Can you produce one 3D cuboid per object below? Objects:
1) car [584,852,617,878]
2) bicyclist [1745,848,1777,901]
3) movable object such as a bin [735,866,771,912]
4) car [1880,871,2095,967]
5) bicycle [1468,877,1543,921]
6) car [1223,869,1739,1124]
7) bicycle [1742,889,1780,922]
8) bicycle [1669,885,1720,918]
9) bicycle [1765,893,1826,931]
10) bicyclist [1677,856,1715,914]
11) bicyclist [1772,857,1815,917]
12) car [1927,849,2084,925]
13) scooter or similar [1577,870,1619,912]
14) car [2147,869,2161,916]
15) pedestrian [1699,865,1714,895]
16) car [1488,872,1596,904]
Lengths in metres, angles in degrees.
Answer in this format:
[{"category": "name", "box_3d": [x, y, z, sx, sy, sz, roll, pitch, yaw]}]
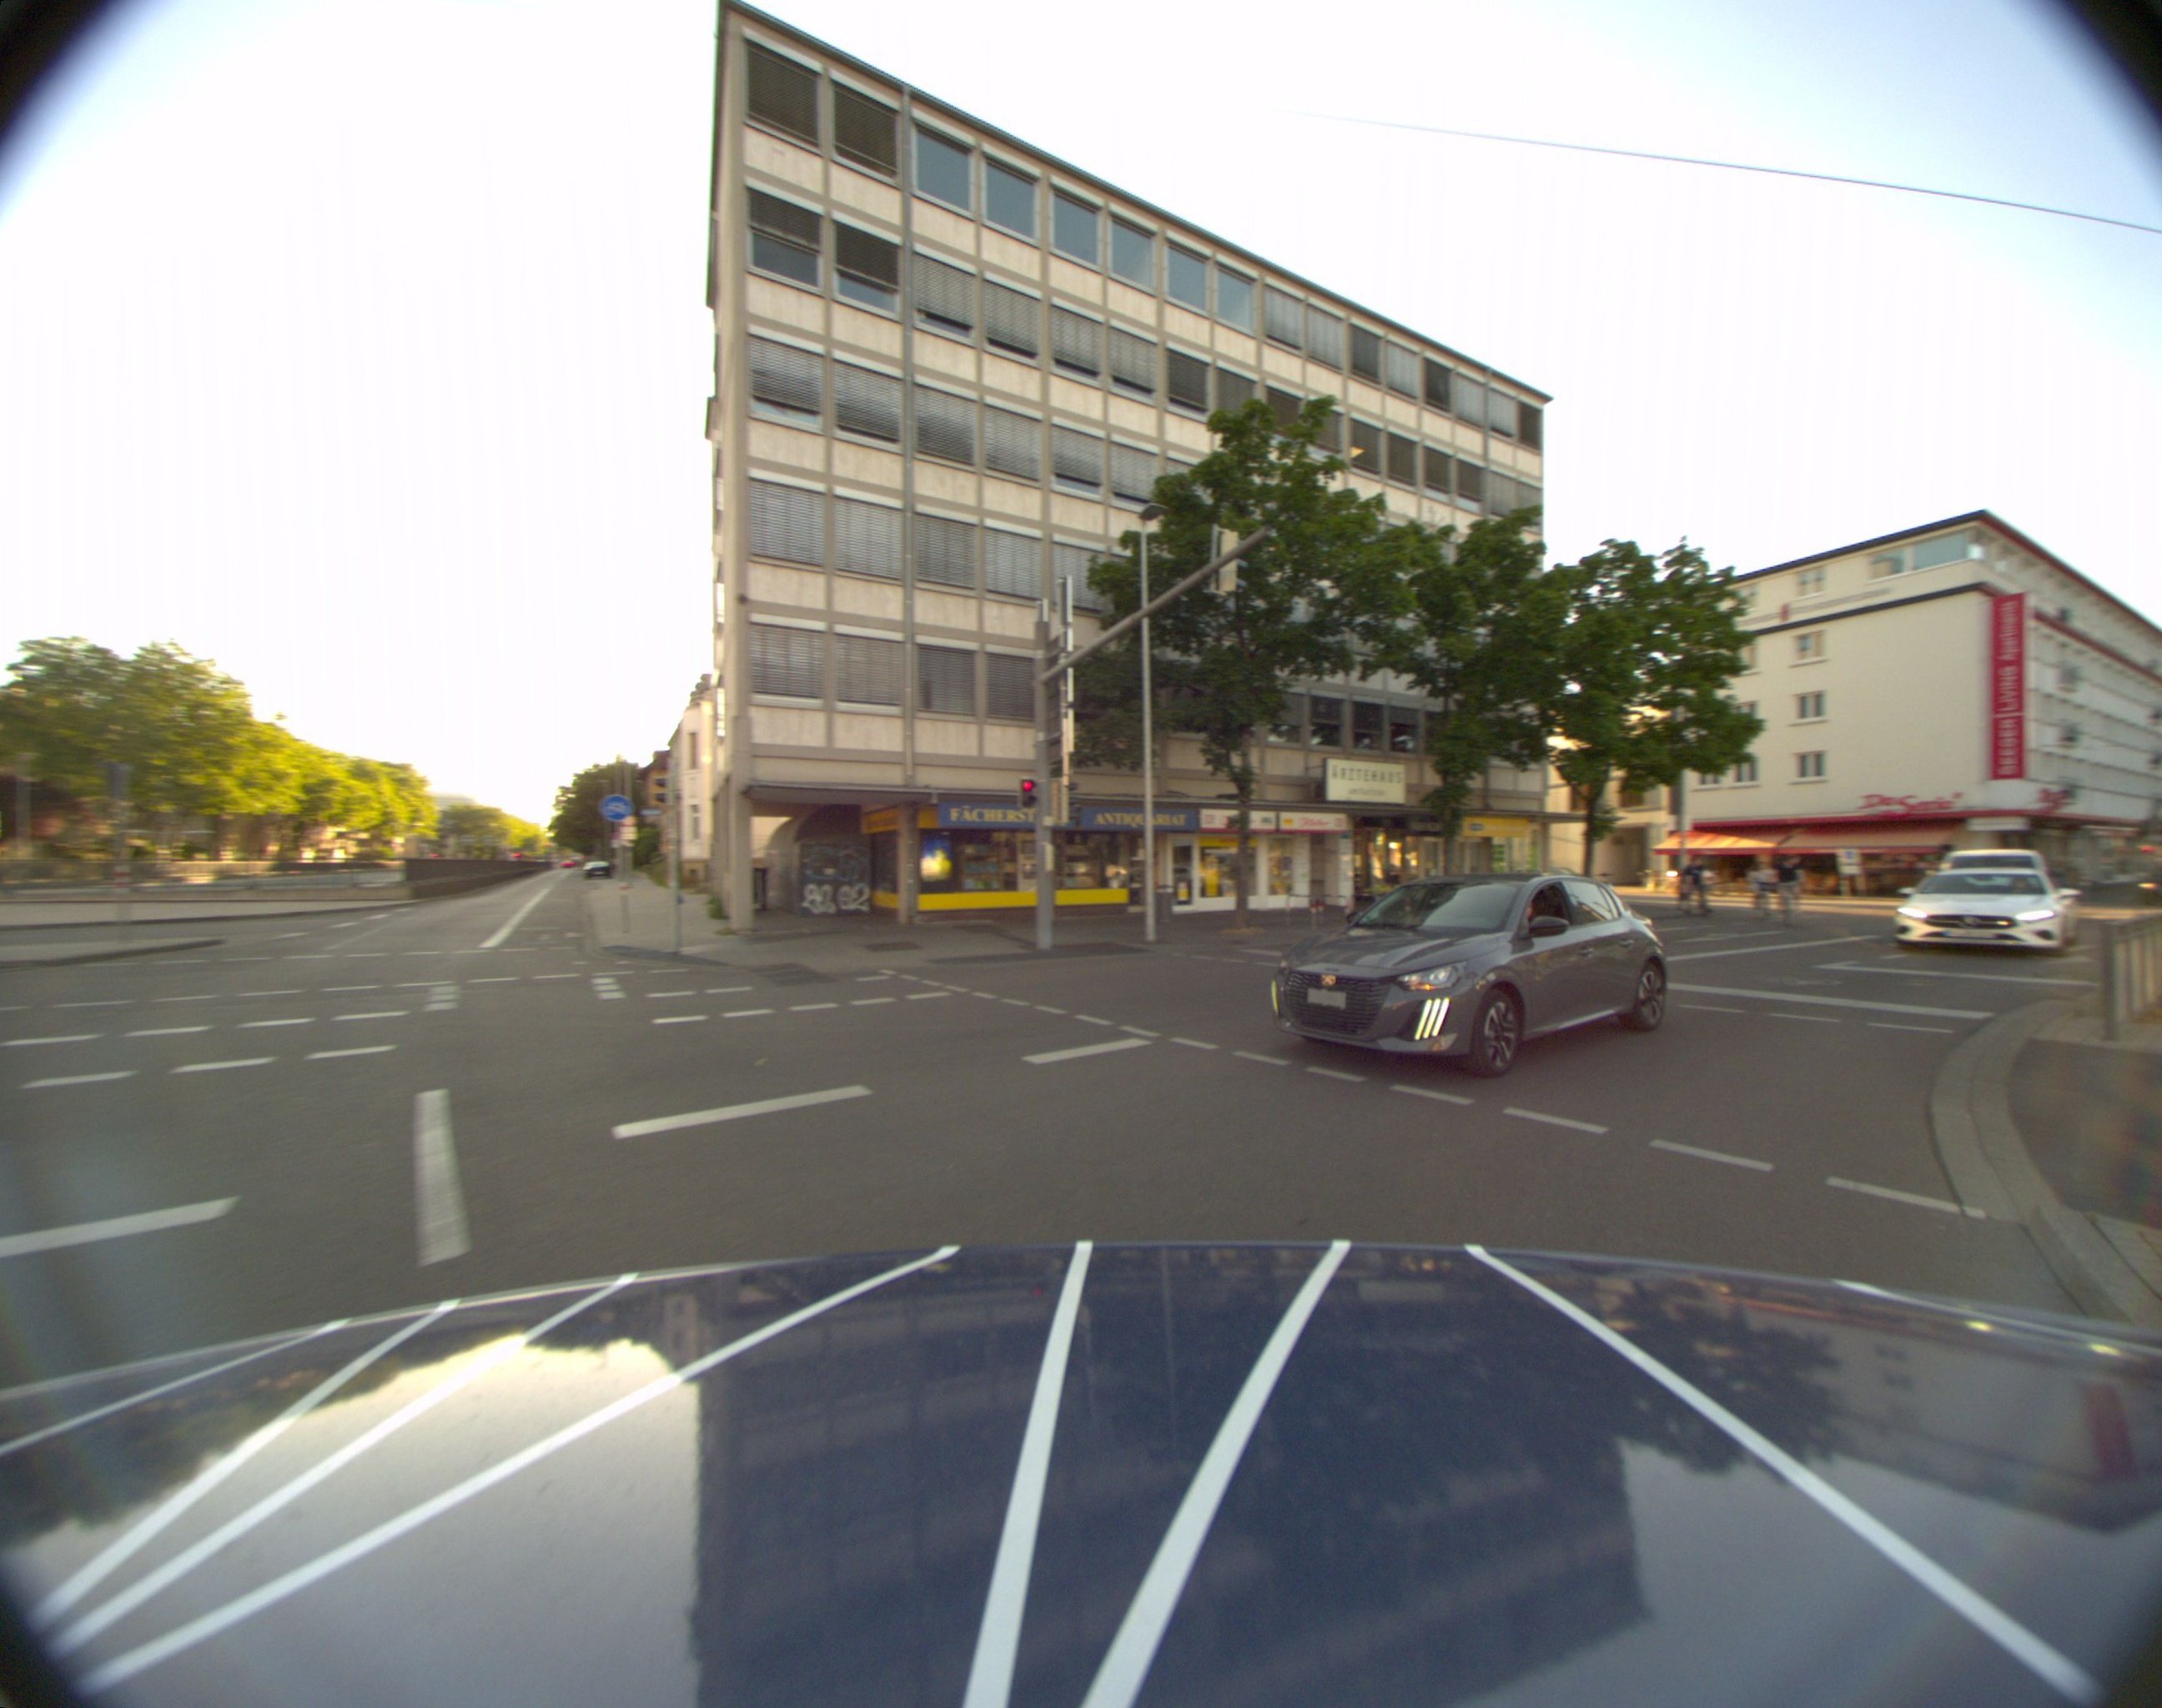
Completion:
[{"category": "car", "box_3d": [-38.597, 0.840, 61.149, 2.003, 2.002, 4.252, 0, 0, -29]}, {"category": "bicyclist", "box_3d": [19.370, 0.562, 21.665, 0.587, 1.478, 0.719, 0, 0, 34]}, {"category": "movable object such as a bin", "box_3d": [-10.091, 1.051, 23.381, 0.961, 1.319, 1.411, 0, 1, -25]}, {"category": "car", "box_3d": [16.069, 1.036, 13.417, 4.571, 1.440, 1.813, 1, -2, -32]}, {"category": "bicycle", "box_3d": [12.188, 1.274, 21.858, 0.668, 1.133, 1.741, 0, 1, -36]}, {"category": "car", "box_3d": [3.670, 0.911, 6.700, 4.710, 1.494, 1.912, 0, 0, -32]}, {"category": "bicycle", "box_3d": [19.356, 1.444, 21.657, 0.598, 0.820, 1.744, 0, 0, 35]}, {"category": "bicycle", "box_3d": [18.594, 1.421, 23.017, 1.693, 0.896, 0.674, 0, 0, -32]}, {"category": "bicycle", "box_3d": [18.041, 1.455, 19.219, 0.613, 0.820, 1.809, 0, 0, 26]}, {"category": "bicyclist", "box_3d": [18.638, 0.932, 23.042, 0.811, 1.717, 0.664, 0, 1, -32]}, {"category": "bicyclist", "box_3d": [18.085, 0.814, 19.299, 0.612, 1.478, 0.719, 0, 0, 26]}, {"category": "car", "box_3d": [24.873, 0.856, 20.416, 4.884, 1.827, 1.996, 1, -1, -31]}, {"category": "scooter or similar", "box_3d": [16.816, 1.173, 24.733, 0.514, 1.314, 1.281, 0, 0, 2]}, {"category": "car", "box_3d": [38.909, 1.317, 25.779, 4.306, 1.565, 1.997, 0, 0, -19]}, {"category": "pedestrian", "box_3d": [30.182, 1.236, 36.642, 0.507, 1.441, 0.508, 0, 1, 34]}, {"category": "car", "box_3d": [22.117, 1.585, 36.568, 4.360, 1.427, 1.741, 0, -1, 32]}]
